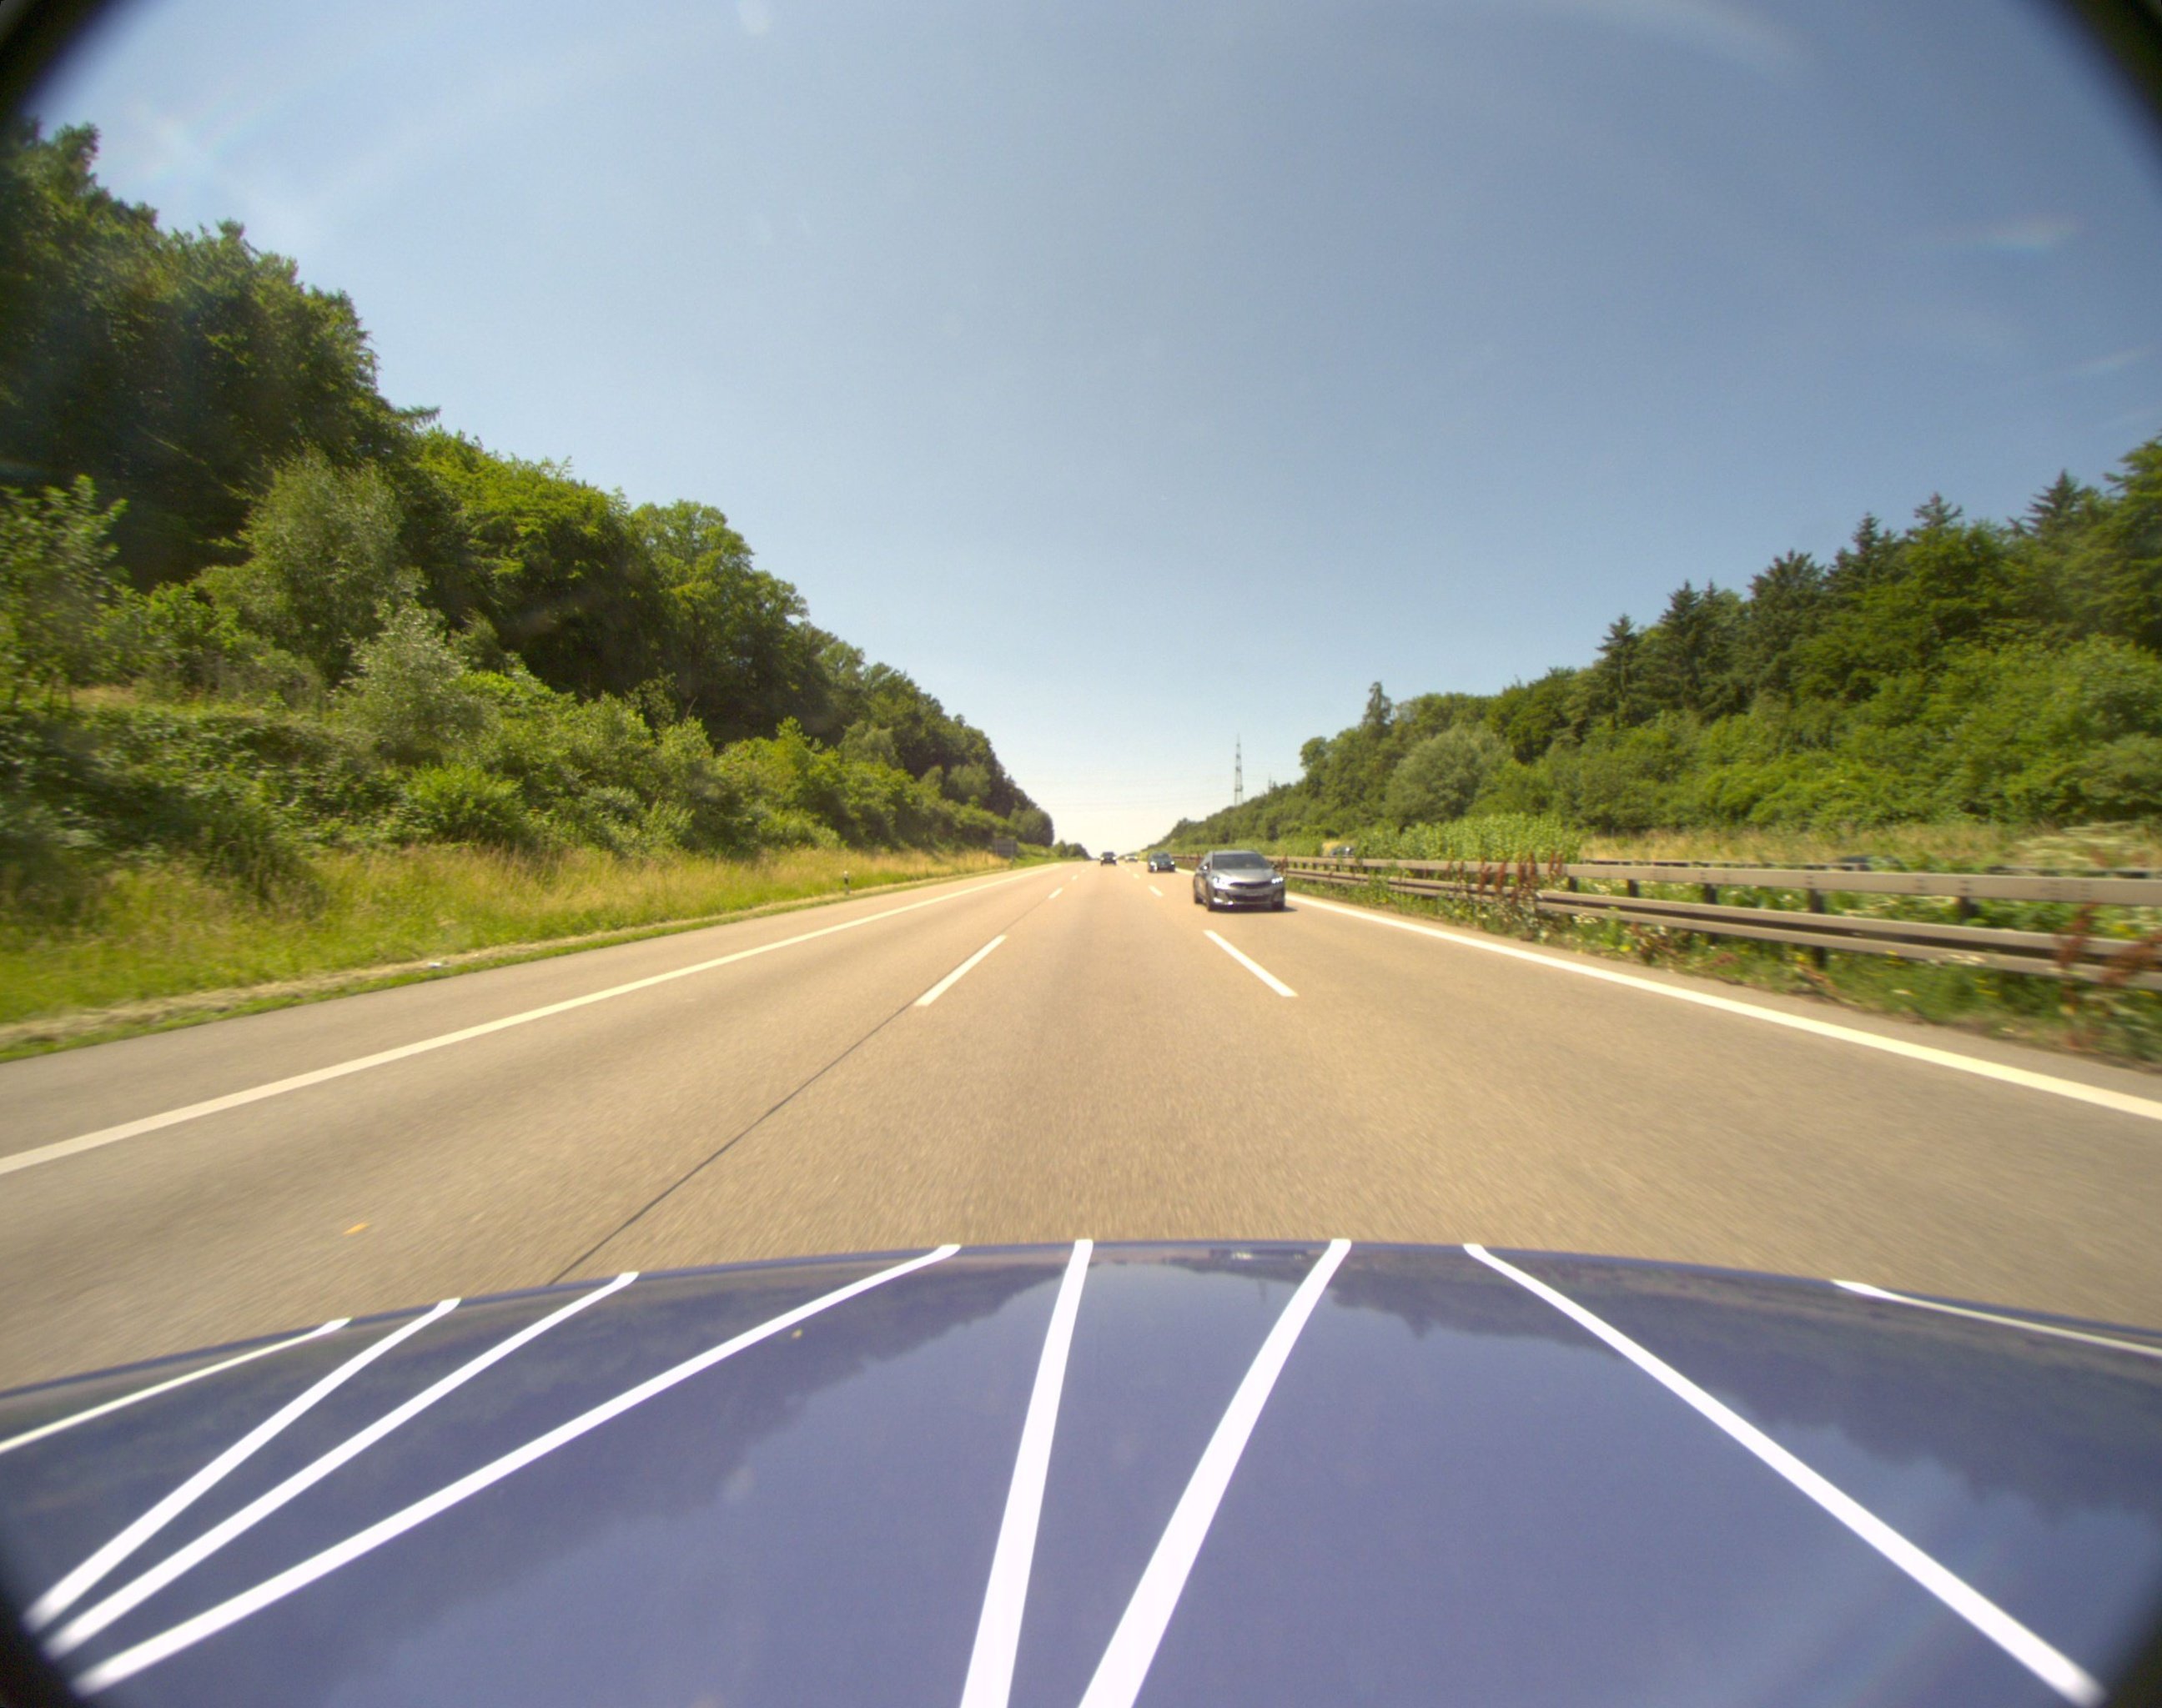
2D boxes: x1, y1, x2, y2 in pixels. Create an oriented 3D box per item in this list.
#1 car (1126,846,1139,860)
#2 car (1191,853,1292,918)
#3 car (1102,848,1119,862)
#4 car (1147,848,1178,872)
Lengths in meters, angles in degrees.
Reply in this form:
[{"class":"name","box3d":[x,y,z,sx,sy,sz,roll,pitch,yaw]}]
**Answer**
[{"class":"car","box3d":[8.109,-0.182,119.734,1.875,2.002,4.000,-2,0,1]},{"class":"car","box3d":[3.917,0.705,19.144,1.768,1.400,3.999,-2,0,2]},{"class":"car","box3d":[3.449,0.146,89.939,1.788,1.550,3.943,-2,0,0]},{"class":"car","box3d":[5.677,0.393,53.565,1.741,1.610,3.943,-2,0,0]}]
